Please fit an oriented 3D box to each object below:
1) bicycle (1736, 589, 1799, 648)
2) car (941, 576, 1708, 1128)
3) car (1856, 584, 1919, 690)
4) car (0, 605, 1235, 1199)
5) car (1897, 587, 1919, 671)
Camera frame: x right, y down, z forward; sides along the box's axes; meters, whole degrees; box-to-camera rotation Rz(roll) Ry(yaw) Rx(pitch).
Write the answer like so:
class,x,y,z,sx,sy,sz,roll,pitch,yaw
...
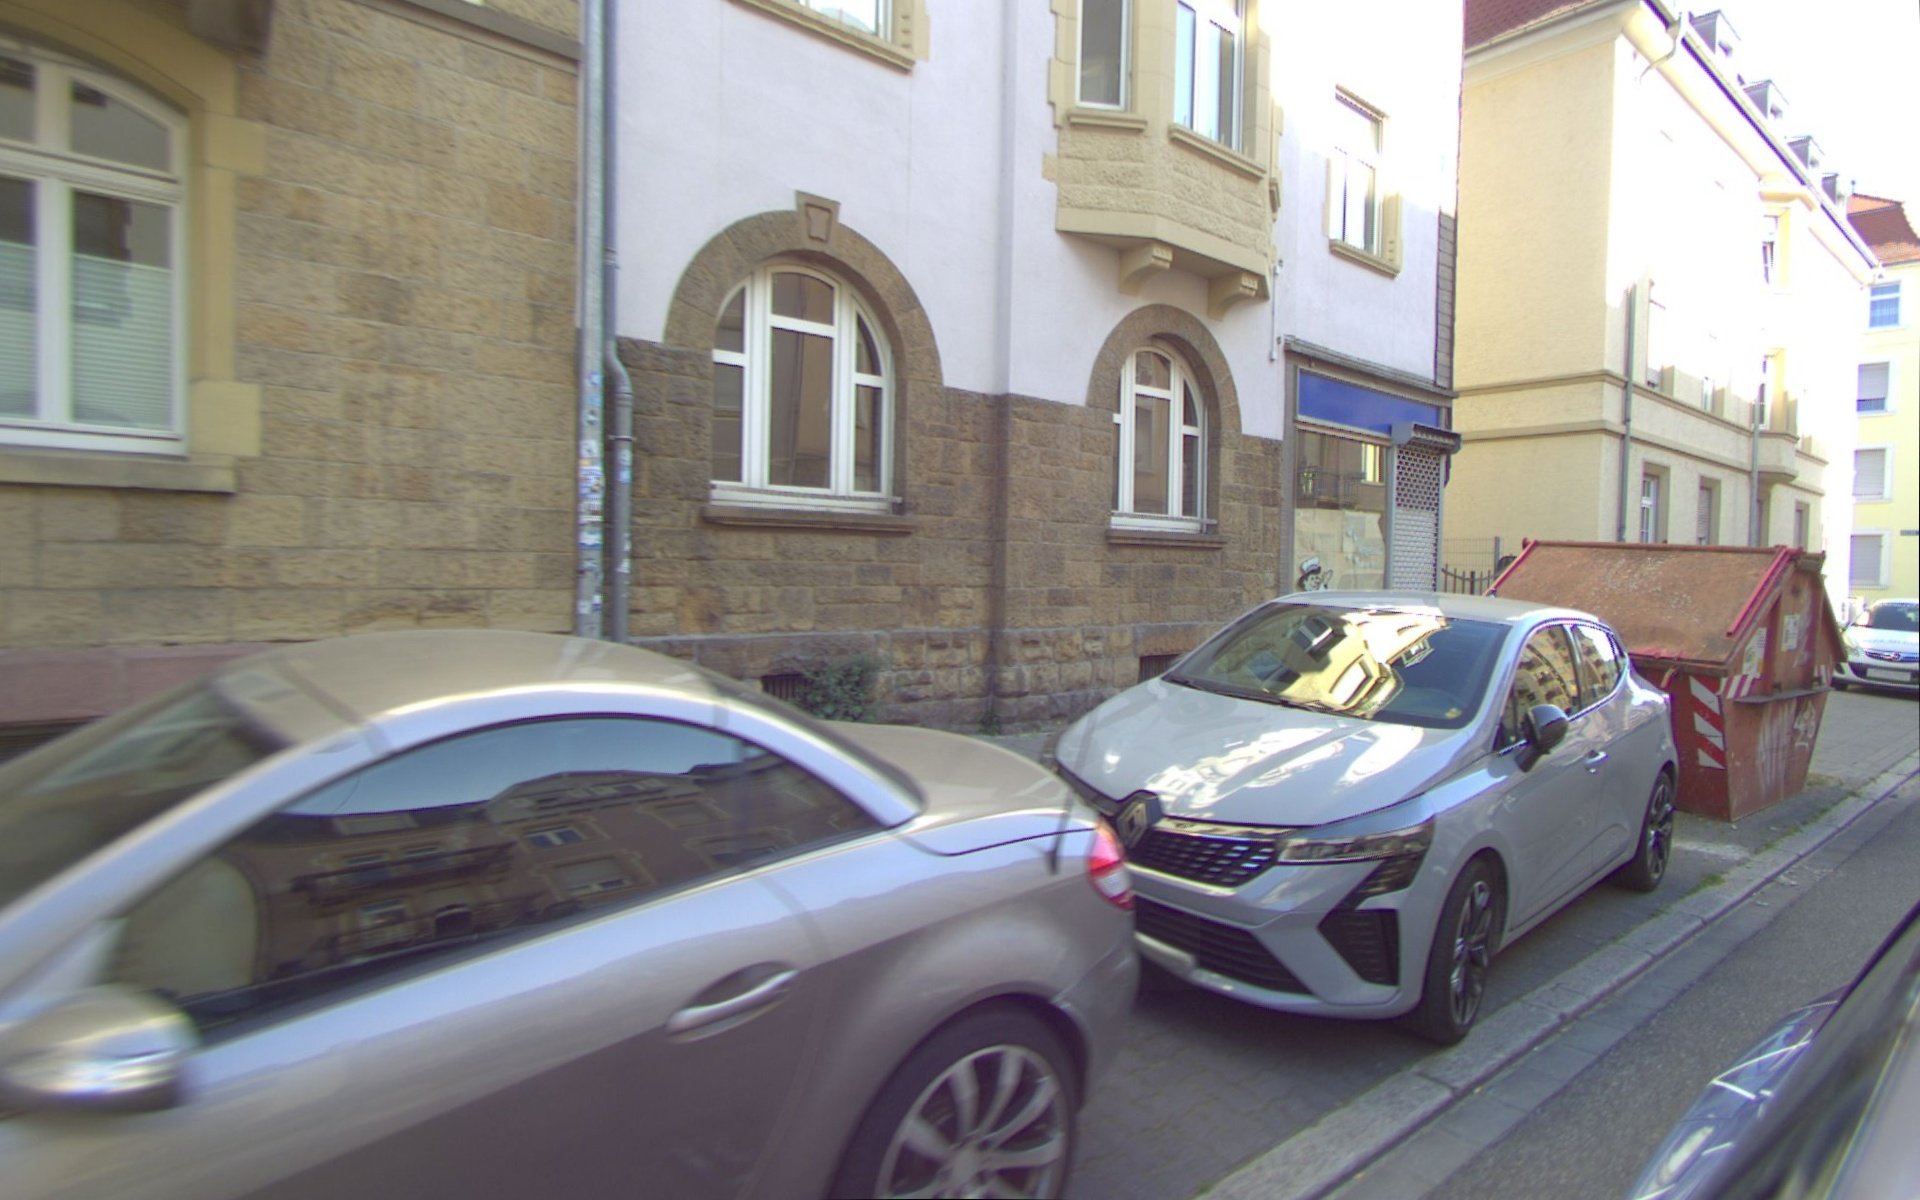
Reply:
class,x,y,z,sx,sy,sz,roll,pitch,yaw
bicycle,17.658,0.383,22.115,1.924,1.216,0.830,0,2,-45
car,1.905,0.658,4.650,3.743,1.447,1.788,0,2,-43
car,15.017,0.537,15.406,3.647,1.482,1.589,0,2,-41
car,-1.405,0.691,1.844,3.869,1.270,1.697,0,3,-39
car,18.991,0.548,18.909,4.021,1.482,1.656,0,2,-40
